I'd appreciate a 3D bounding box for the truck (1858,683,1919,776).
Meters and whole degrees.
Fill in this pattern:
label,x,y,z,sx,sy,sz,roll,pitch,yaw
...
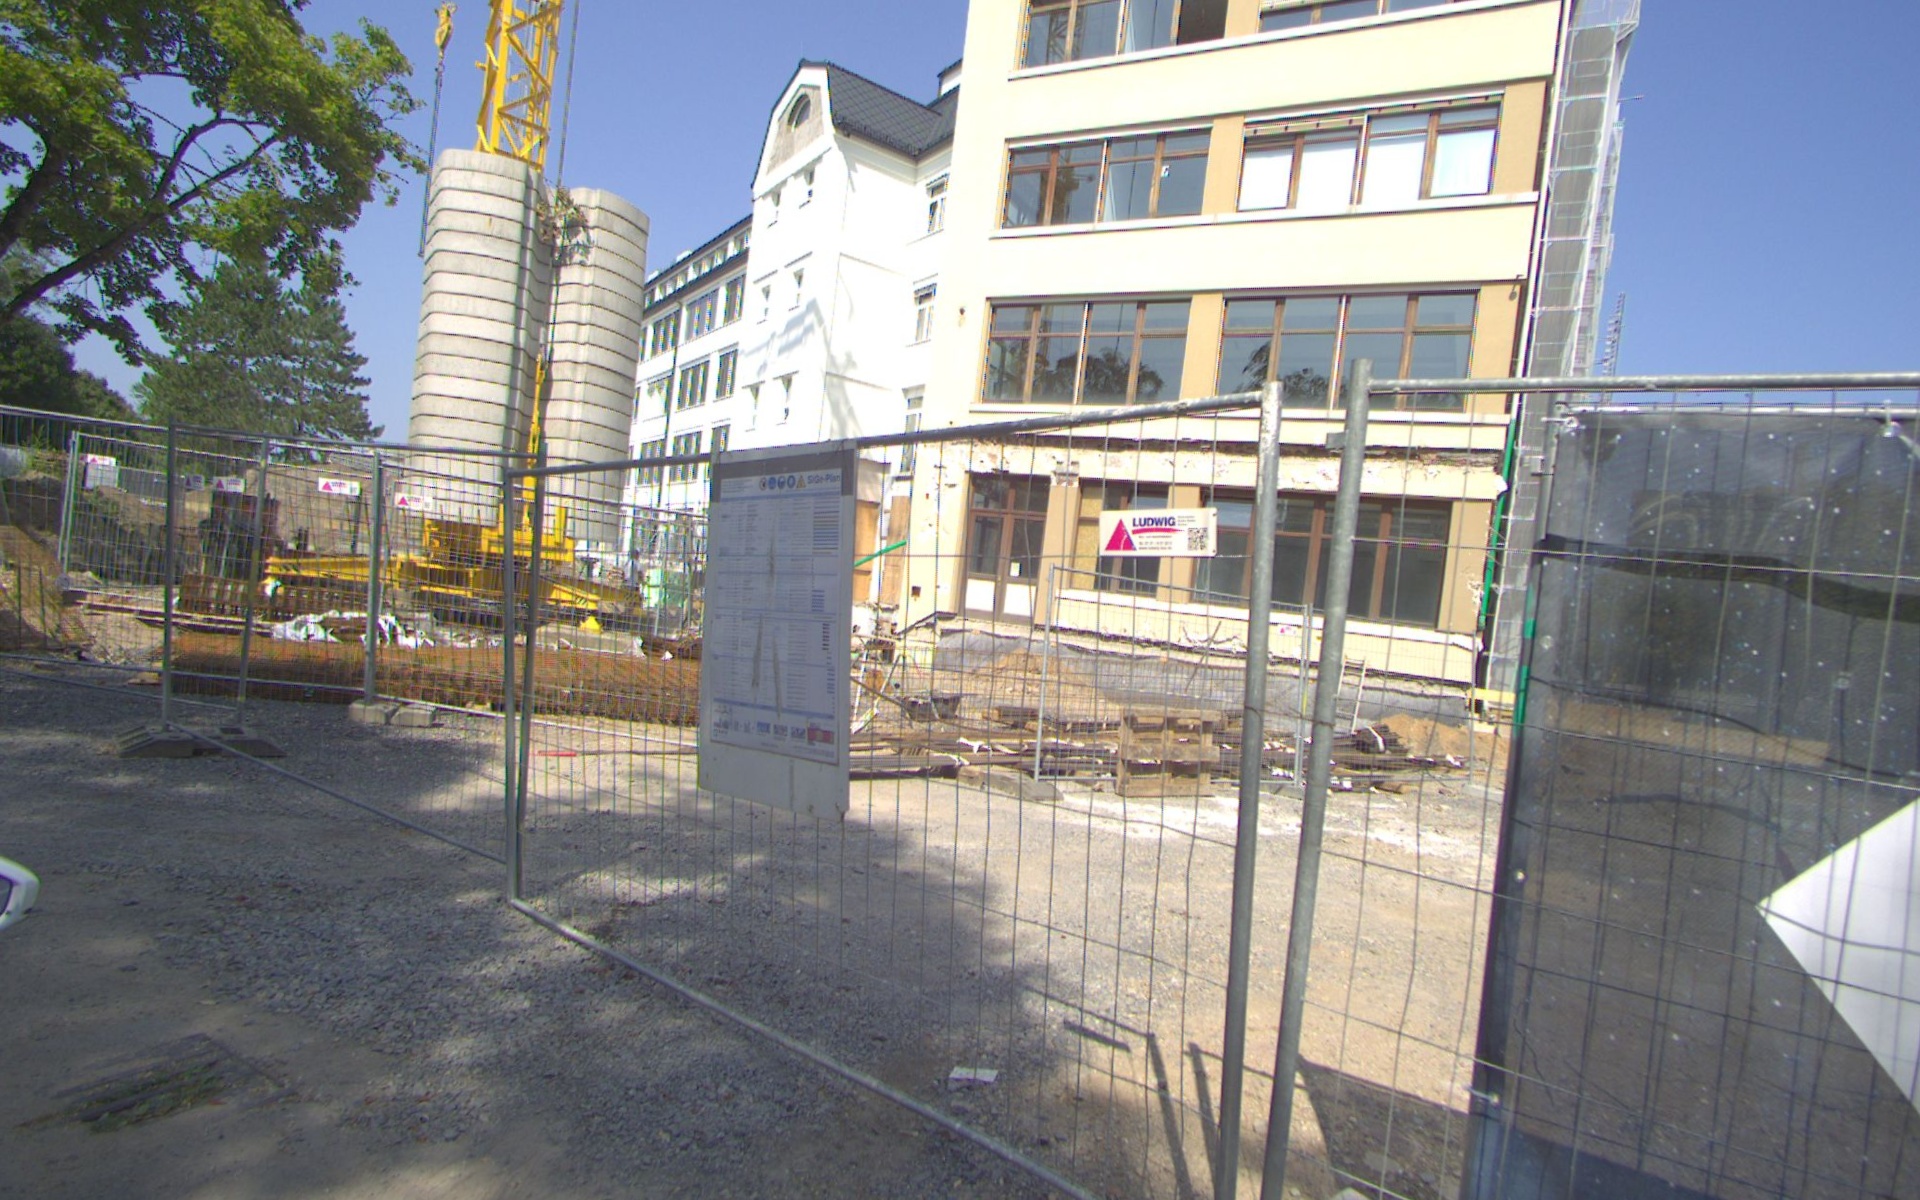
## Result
label,x,y,z,sx,sy,sz,roll,pitch,yaw
truck,29.814,4.027,30.680,1.889,2.631,5.586,7,0,26

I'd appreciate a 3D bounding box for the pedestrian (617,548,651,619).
label,x,y,z,sx,sy,sz,roll,pitch,yaw
pedestrian,-7.442,-0.384,22.938,0.517,1.547,0.492,6,1,-27
